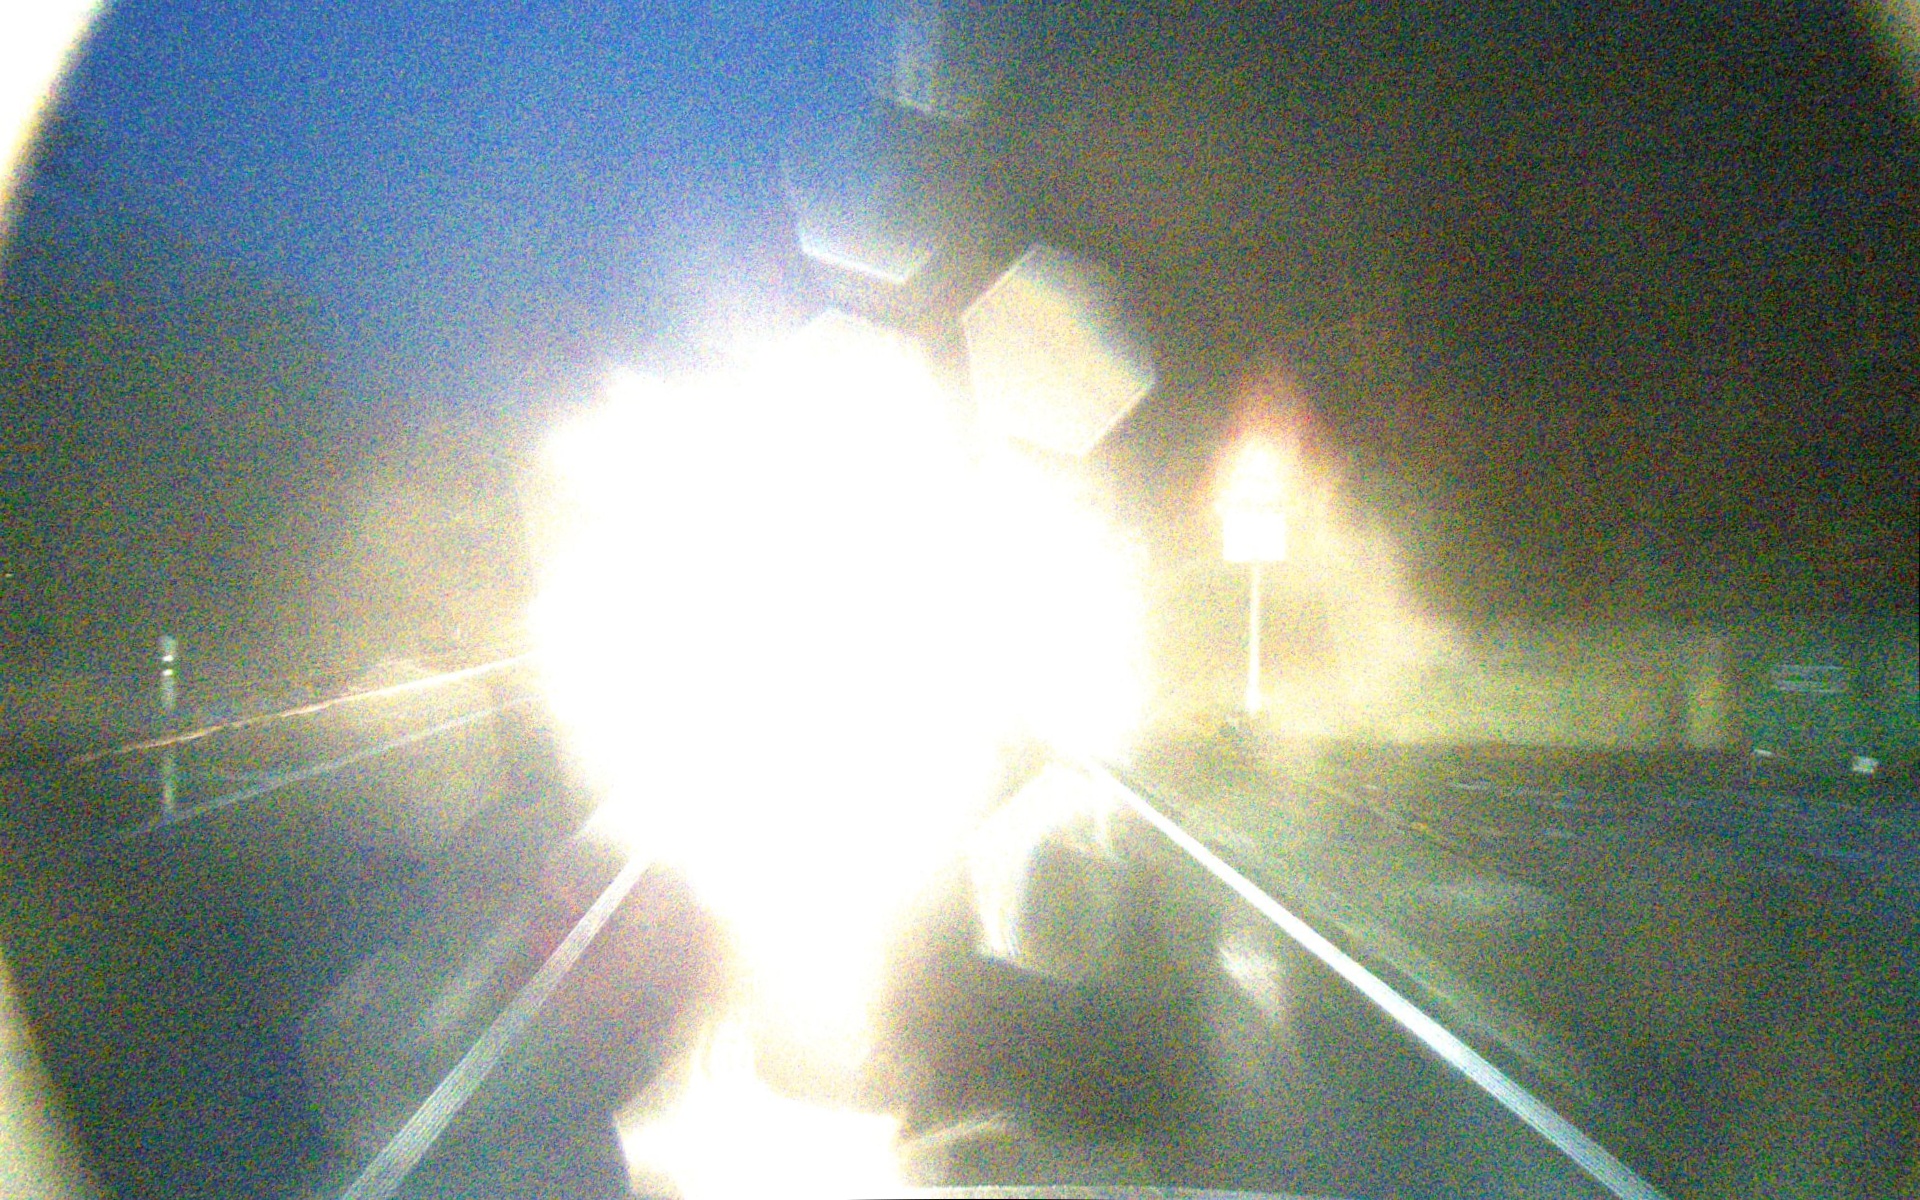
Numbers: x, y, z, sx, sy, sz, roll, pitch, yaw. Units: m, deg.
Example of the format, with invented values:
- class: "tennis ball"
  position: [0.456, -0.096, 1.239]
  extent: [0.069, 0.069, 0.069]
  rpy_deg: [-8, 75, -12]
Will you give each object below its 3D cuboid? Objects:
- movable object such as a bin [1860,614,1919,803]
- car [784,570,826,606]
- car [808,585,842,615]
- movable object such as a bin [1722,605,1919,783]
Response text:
- class: "movable object such as a bin"
  position: [7.561, 0.798, 12.265]
  extent: [1.141, 1.348, 1.216]
  rpy_deg: [-1, 1, -38]
- class: "car"
  position: [-7.645, -0.616, 81.894]
  extent: [1.851, 1.700, 3.998]
  rpy_deg: [-1, 2, -3]
- class: "car"
  position: [-7.993, -0.006, 98.097]
  extent: [1.851, 1.613, 3.998]
  rpy_deg: [-1, 2, -3]
- class: "movable object such as a bin"
  position: [7.183, 0.723, 13.591]
  extent: [1.165, 1.332, 1.303]
  rpy_deg: [-2, 1, -40]
